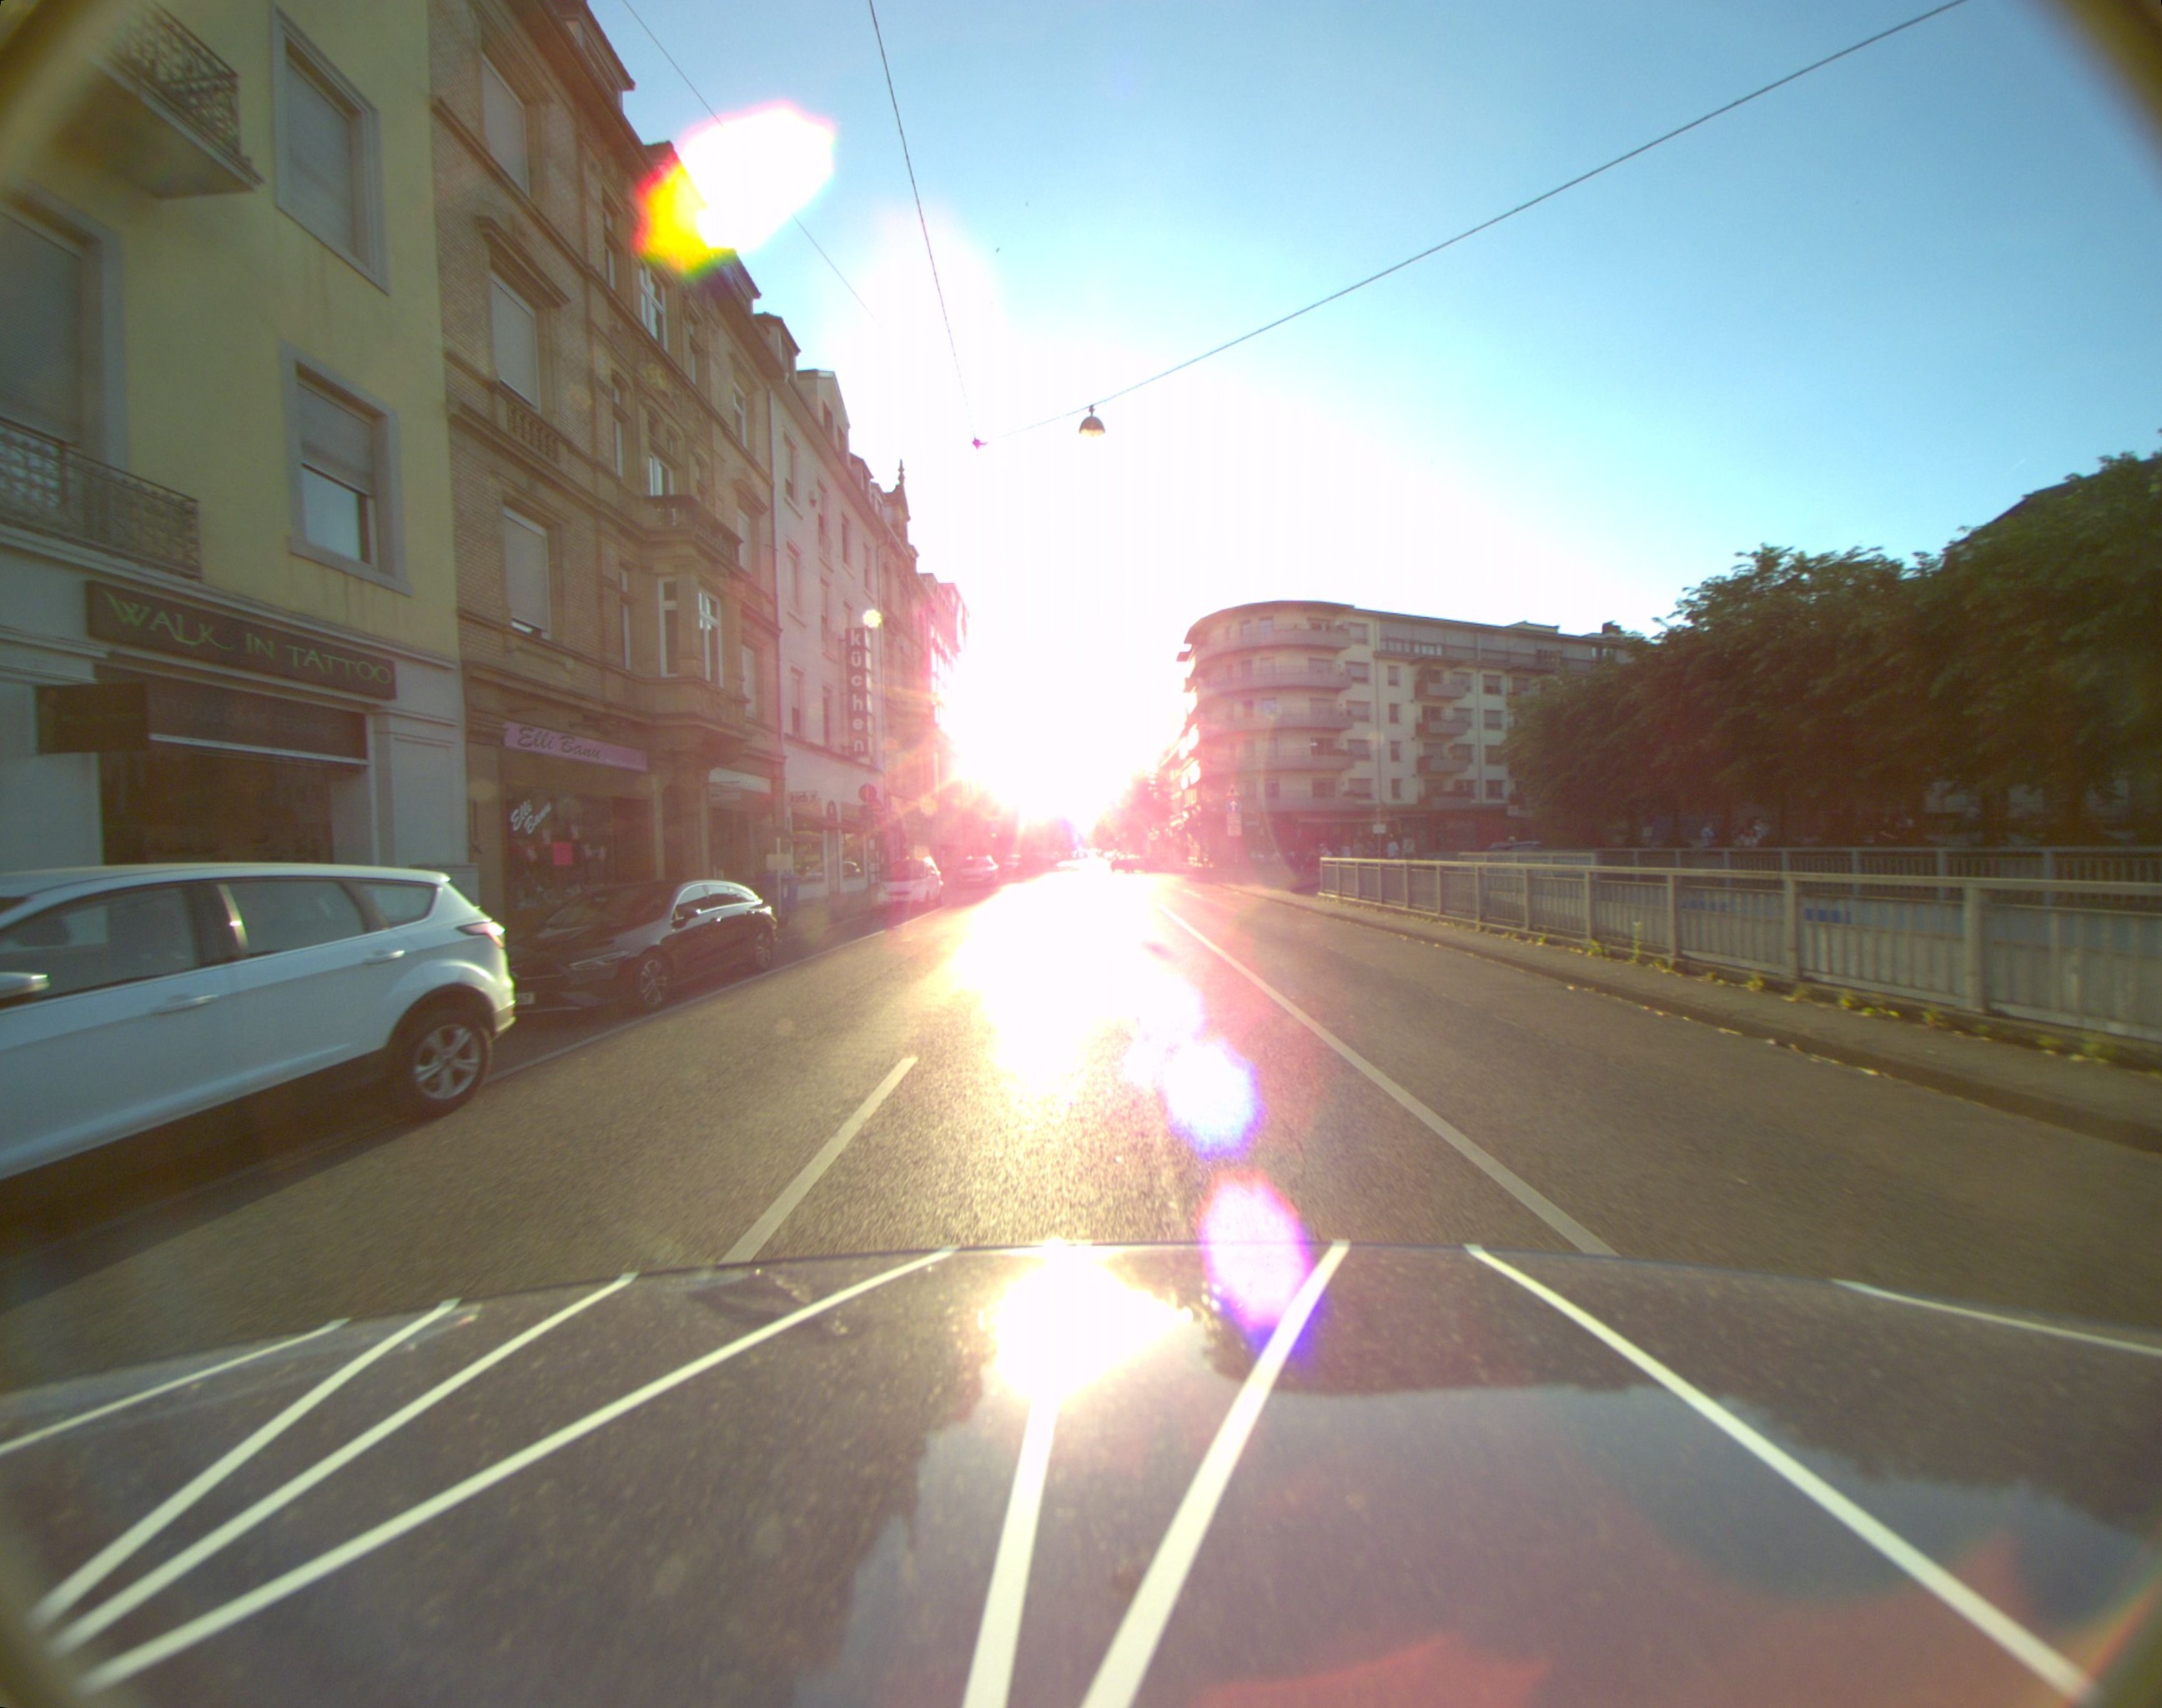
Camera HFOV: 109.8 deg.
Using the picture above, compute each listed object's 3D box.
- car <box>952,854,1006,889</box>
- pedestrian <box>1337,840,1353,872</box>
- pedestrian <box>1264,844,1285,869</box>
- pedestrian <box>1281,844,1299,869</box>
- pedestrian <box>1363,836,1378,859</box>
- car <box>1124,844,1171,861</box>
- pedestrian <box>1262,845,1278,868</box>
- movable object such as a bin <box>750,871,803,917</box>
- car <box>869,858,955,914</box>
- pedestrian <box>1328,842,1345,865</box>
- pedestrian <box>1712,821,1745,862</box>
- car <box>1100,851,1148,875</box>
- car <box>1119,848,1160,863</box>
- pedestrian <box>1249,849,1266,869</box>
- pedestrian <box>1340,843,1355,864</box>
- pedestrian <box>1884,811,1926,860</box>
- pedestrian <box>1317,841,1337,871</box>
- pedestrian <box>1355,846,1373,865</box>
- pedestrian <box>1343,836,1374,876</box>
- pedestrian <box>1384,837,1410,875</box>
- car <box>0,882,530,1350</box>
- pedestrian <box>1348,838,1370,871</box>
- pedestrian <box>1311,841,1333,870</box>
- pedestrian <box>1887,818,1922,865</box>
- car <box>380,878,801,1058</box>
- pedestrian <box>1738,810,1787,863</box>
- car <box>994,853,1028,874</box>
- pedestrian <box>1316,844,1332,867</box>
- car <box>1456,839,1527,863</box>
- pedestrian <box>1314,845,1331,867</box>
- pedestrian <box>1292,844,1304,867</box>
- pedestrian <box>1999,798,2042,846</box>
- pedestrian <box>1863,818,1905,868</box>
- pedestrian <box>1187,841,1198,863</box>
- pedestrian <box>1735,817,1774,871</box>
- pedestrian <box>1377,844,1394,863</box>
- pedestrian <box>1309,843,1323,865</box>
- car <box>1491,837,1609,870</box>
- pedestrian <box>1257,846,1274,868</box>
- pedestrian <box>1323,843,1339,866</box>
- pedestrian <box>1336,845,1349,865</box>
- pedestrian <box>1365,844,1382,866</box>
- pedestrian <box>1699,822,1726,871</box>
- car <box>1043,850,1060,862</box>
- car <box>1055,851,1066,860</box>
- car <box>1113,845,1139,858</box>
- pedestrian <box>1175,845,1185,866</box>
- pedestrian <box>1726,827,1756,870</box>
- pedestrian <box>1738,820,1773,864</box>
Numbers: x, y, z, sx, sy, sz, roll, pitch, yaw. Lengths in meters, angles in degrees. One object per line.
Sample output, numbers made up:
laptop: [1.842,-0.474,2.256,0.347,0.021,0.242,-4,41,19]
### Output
car: [-4.961,0.836,37.596,1.999,1.526,4.682,-2,-1,0]
pedestrian: [15.026,0.121,43.232,0.713,1.792,0.884,-2,0,15]
pedestrian: [12.842,0.168,50.442,0.690,1.526,0.714,17,-1,-7]
pedestrian: [13.853,0.162,50.282,0.854,1.528,0.713,-2,5,-21]
pedestrian: [21.512,-0.479,56.490,0.669,1.710,0.717,-2,1,-24]
car: [6.595,-0.129,75.786,4.442,1.532,1.817,-2,1,-1]
pedestrian: [12.811,0.178,51.520,0.712,1.527,0.855,-2,0,32]
movable object such as a bin: [-8.462,1.089,21.194,0.868,1.180,1.398,-2,1,1]
car: [-5.272,0.970,24.214,1.704,1.575,4.000,-2,-1,2]
pedestrian: [17.689,-0.040,52.621,0.680,1.527,0.851,-2,0,-26]
pedestrian: [28.400,-0.542,33.331,0.798,1.771,0.761,-3,1,-21]
car: [2.939,0.596,53.080,1.812,1.400,4.609,-3,2,-17]
car: [6.020,0.160,78.143,3.998,1.412,1.999,-2,1,-3]
pedestrian: [11.702,0.319,50.422,0.684,1.274,0.969,-1,3,42]
pedestrian: [18.838,-0.025,53.703,0.603,1.413,0.713,-2,0,-24]
pedestrian: [26.743,-0.602,24.677,0.680,1.533,0.592,-2,0,-6]
pedestrian: [14.920,0.130,46.048,0.737,1.783,0.811,-2,0,-21]
pedestrian: [19.658,0.098,52.753,0.852,1.298,0.878,-2,2,-3]
pedestrian: [13.298,0.107,36.430,0.891,1.872,0.983,-2,0,-21]
pedestrian: [15.413,0.111,37.080,0.982,1.783,0.892,-2,0,33]
car: [-5.120,1.079,3.349,1.886,1.734,4.660,-2,-1,1]
pedestrian: [15.956,0.046,43.586,0.852,1.865,0.713,-2,0,-15]
pedestrian: [14.929,0.107,47.054,0.870,1.783,0.850,-2,0,-21]
pedestrian: [30.680,-0.461,28.313,0.804,1.716,0.622,-2,1,-24]
car: [-5.494,1.153,9.547,1.998,1.426,4.850,-2,0,1]
pedestrian: [24.532,-0.636,27.364,0.986,1.842,0.889,-2,0,-18]
car: [-5.070,0.675,55.840,1.998,1.511,4.000,-1,0,2]
pedestrian: [16.463,0.110,51.501,0.760,1.528,0.712,-2,5,-27]
car: [29.530,-0.241,54.608,4.635,1.542,1.877,-2,-1,-21]
pedestrian: [16.792,0.120,52.776,0.784,1.495,0.768,-2,1,-25]
pedestrian: [14.881,0.080,52.035,0.647,1.527,0.753,-3,1,10]
pedestrian: [40.610,-1.373,32.854,1.067,2.002,0.832,-3,1,-20]
pedestrian: [26.027,-0.351,24.639,0.797,1.572,0.732,-3,-1,41]
pedestrian: [10.345,-0.191,70.493,0.730,1.937,0.804,-2,1,-5]
pedestrian: [23.791,-0.342,26.860,0.779,1.864,0.715,-2,0,19]
pedestrian: [21.550,-0.050,53.725,0.715,1.271,0.850,-6,4,-45]
pedestrian: [16.191,-0.006,52.396,0.655,1.528,0.674,-2,3,-25]
car: [23.022,0.007,37.474,2.110,1.422,4.440,-2,-1,-29]
pedestrian: [12.079,0.194,49.712,0.768,1.374,0.841,0,3,41]
pedestrian: [17.096,0.054,51.977,0.701,1.519,0.649,-2,4,-27]
pedestrian: [18.248,0.066,52.991,0.562,1.426,0.666,-2,3,-25]
pedestrian: [20.940,0.056,54.341,0.716,1.527,0.851,-2,0,-45]
pedestrian: [23.050,-0.268,27.741,0.686,1.736,0.717,-2,0,38]
car: [-3.969,0.293,102.938,1.998,1.543,3.999,-2,0,0]
car: [-3.420,0.258,127.870,1.756,1.543,4.286,-2,0,0]
car: [7.237,-0.396,122.036,3.998,2.002,1.999,-2,1,-2]
pedestrian: [9.160,0.162,70.342,0.730,1.937,0.740,-2,1,-5]
pedestrian: [23.038,-0.183,26.523,0.714,1.477,0.605,-2,0,38]
pedestrian: [28.767,-0.501,32.394,1.124,1.808,0.701,-2,1,-24]
